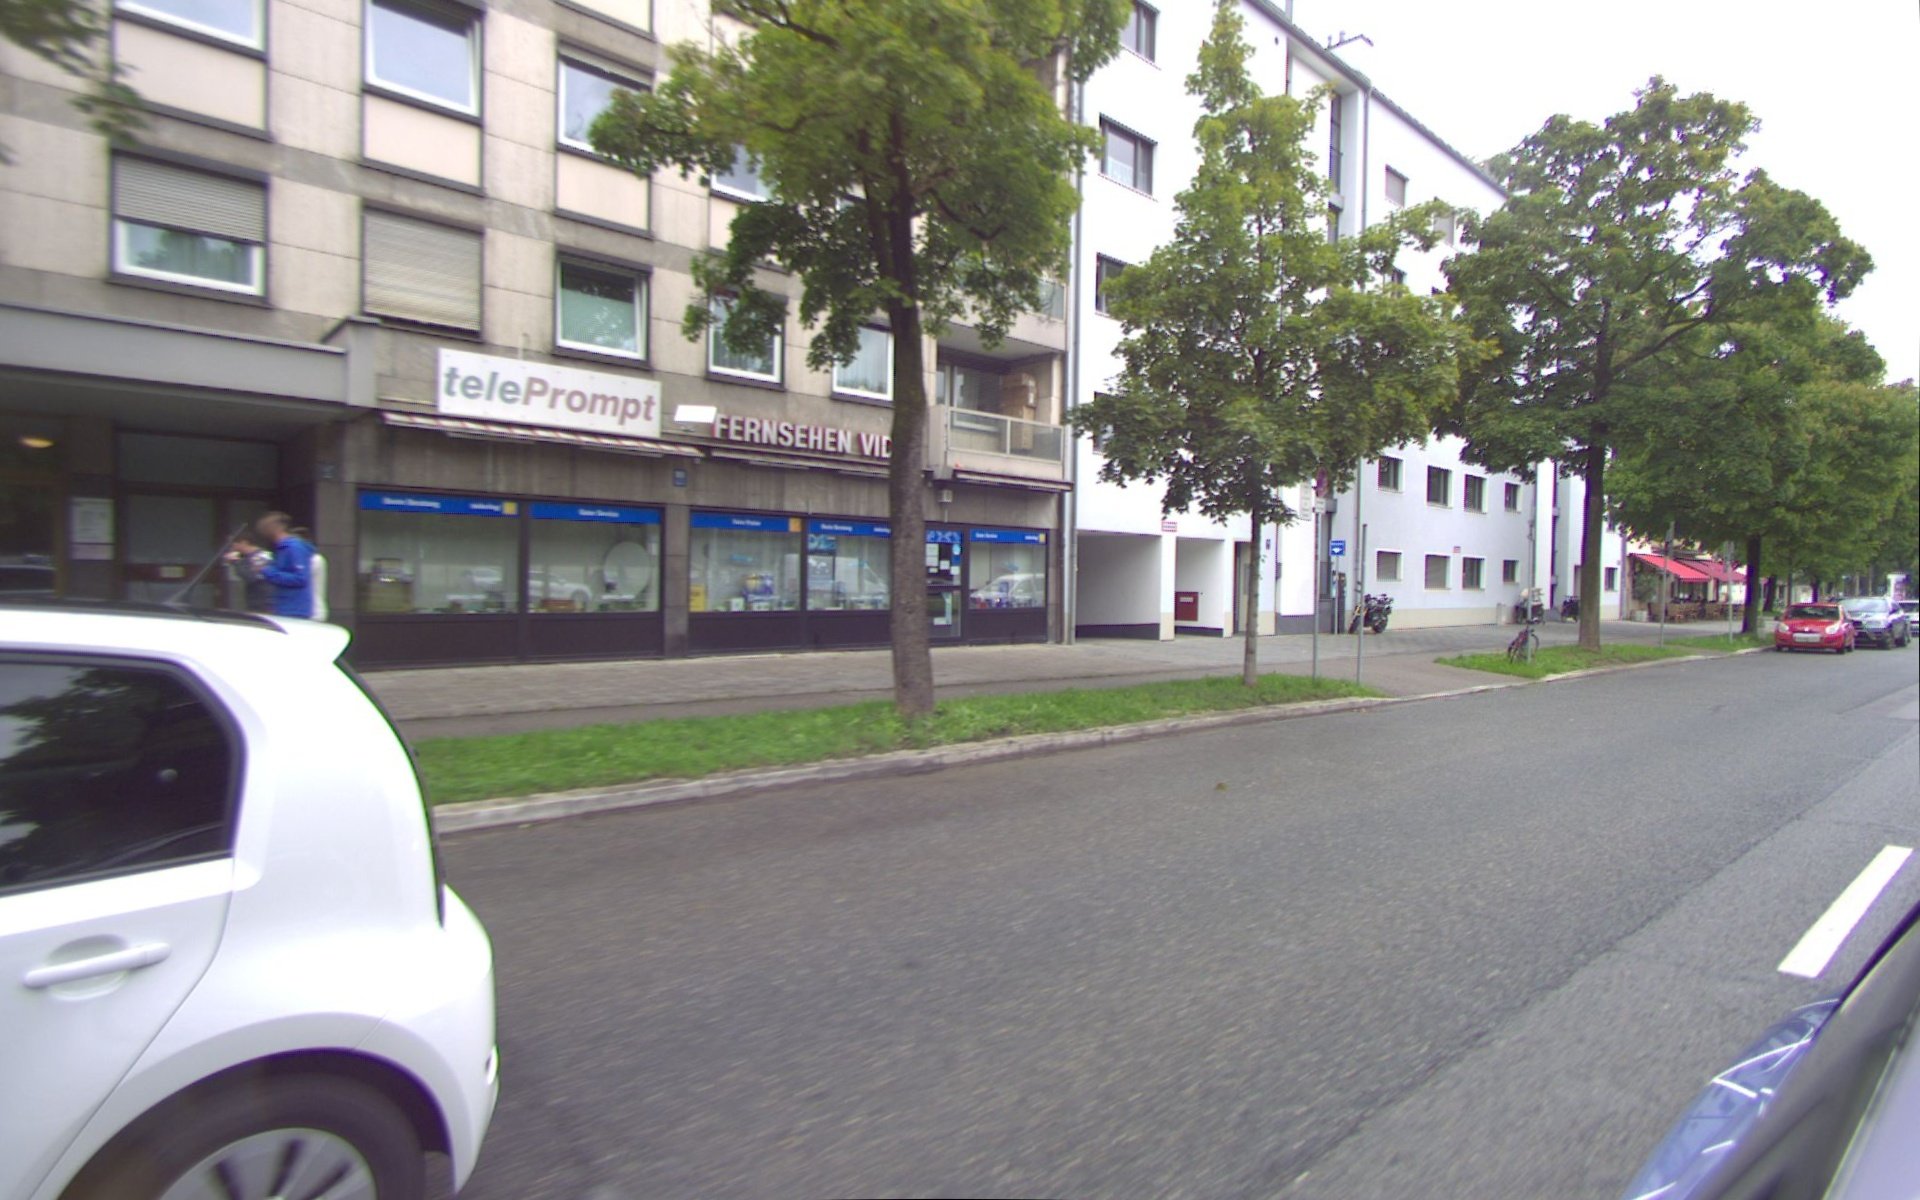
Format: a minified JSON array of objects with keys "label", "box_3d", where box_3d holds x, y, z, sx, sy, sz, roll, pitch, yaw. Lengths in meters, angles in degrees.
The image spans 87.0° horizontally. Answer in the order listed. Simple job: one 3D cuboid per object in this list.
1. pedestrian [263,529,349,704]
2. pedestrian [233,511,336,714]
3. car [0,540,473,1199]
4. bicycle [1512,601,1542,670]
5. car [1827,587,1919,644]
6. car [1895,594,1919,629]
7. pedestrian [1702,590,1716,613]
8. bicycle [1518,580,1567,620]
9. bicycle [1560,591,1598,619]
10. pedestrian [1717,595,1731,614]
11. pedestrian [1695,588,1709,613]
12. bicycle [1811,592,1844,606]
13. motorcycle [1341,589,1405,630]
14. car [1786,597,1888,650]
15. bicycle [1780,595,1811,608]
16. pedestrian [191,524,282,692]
[{"label":"pedestrian","box_3d":[-6.427,0.142,9.940,0.630,1.649,0.550,0,2,-41]},{"label":"pedestrian","box_3d":[-6.096,0.101,9.138,0.720,1.755,0.500,0,1,-41]},{"label":"car","box_3d":[-2.782,0.665,1.523,3.376,1.509,1.689,0,0,-42]},{"label":"bicycle","box_3d":[11.173,0.663,19.912,0.452,1.271,2.126,1,1,30]},{"label":"car","box_3d":[30.398,0.471,33.524,4.428,1.768,1.833,0,1,-40]},{"label":"car","box_3d":[43.628,0.484,45.722,4.449,1.541,1.830,0,0,-45]},{"label":"pedestrian","box_3d":[42.050,0.067,56.798,0.478,1.284,0.539,0,0,-42]},{"label":"bicycle","box_3d":[22.134,-0.007,38.435,2.547,1.424,0.704,0,5,-41]},{"label":"bicycle","box_3d":[25.354,0.183,41.425,2.157,1.059,0.623,0,5,-41]},{"label":"pedestrian","box_3d":[44.037,0.273,58.325,0.478,1.067,0.539,0,0,-40]},{"label":"pedestrian","box_3d":[41.102,0.042,56.067,0.543,1.356,0.539,0,0,-42]},{"label":"bicycle","box_3d":[72.145,-0.075,84.202,0.653,1.081,2.027,0,1,-44]},{"label":"motorcycle","box_3d":[11.679,0.246,28.616,2.161,1.099,0.762,0,1,-41]},{"label":"car","box_3d":[26.048,0.639,30.033,3.926,1.459,1.525,0,1,-37]},{"label":"bicycle","box_3d":[72.760,0.151,88.092,0.653,1.081,2.027,0,1,-44]},{"label":"pedestrian","box_3d":[-7.452,0.074,10.426,0.712,1.661,0.542,0,1,-41]}]
